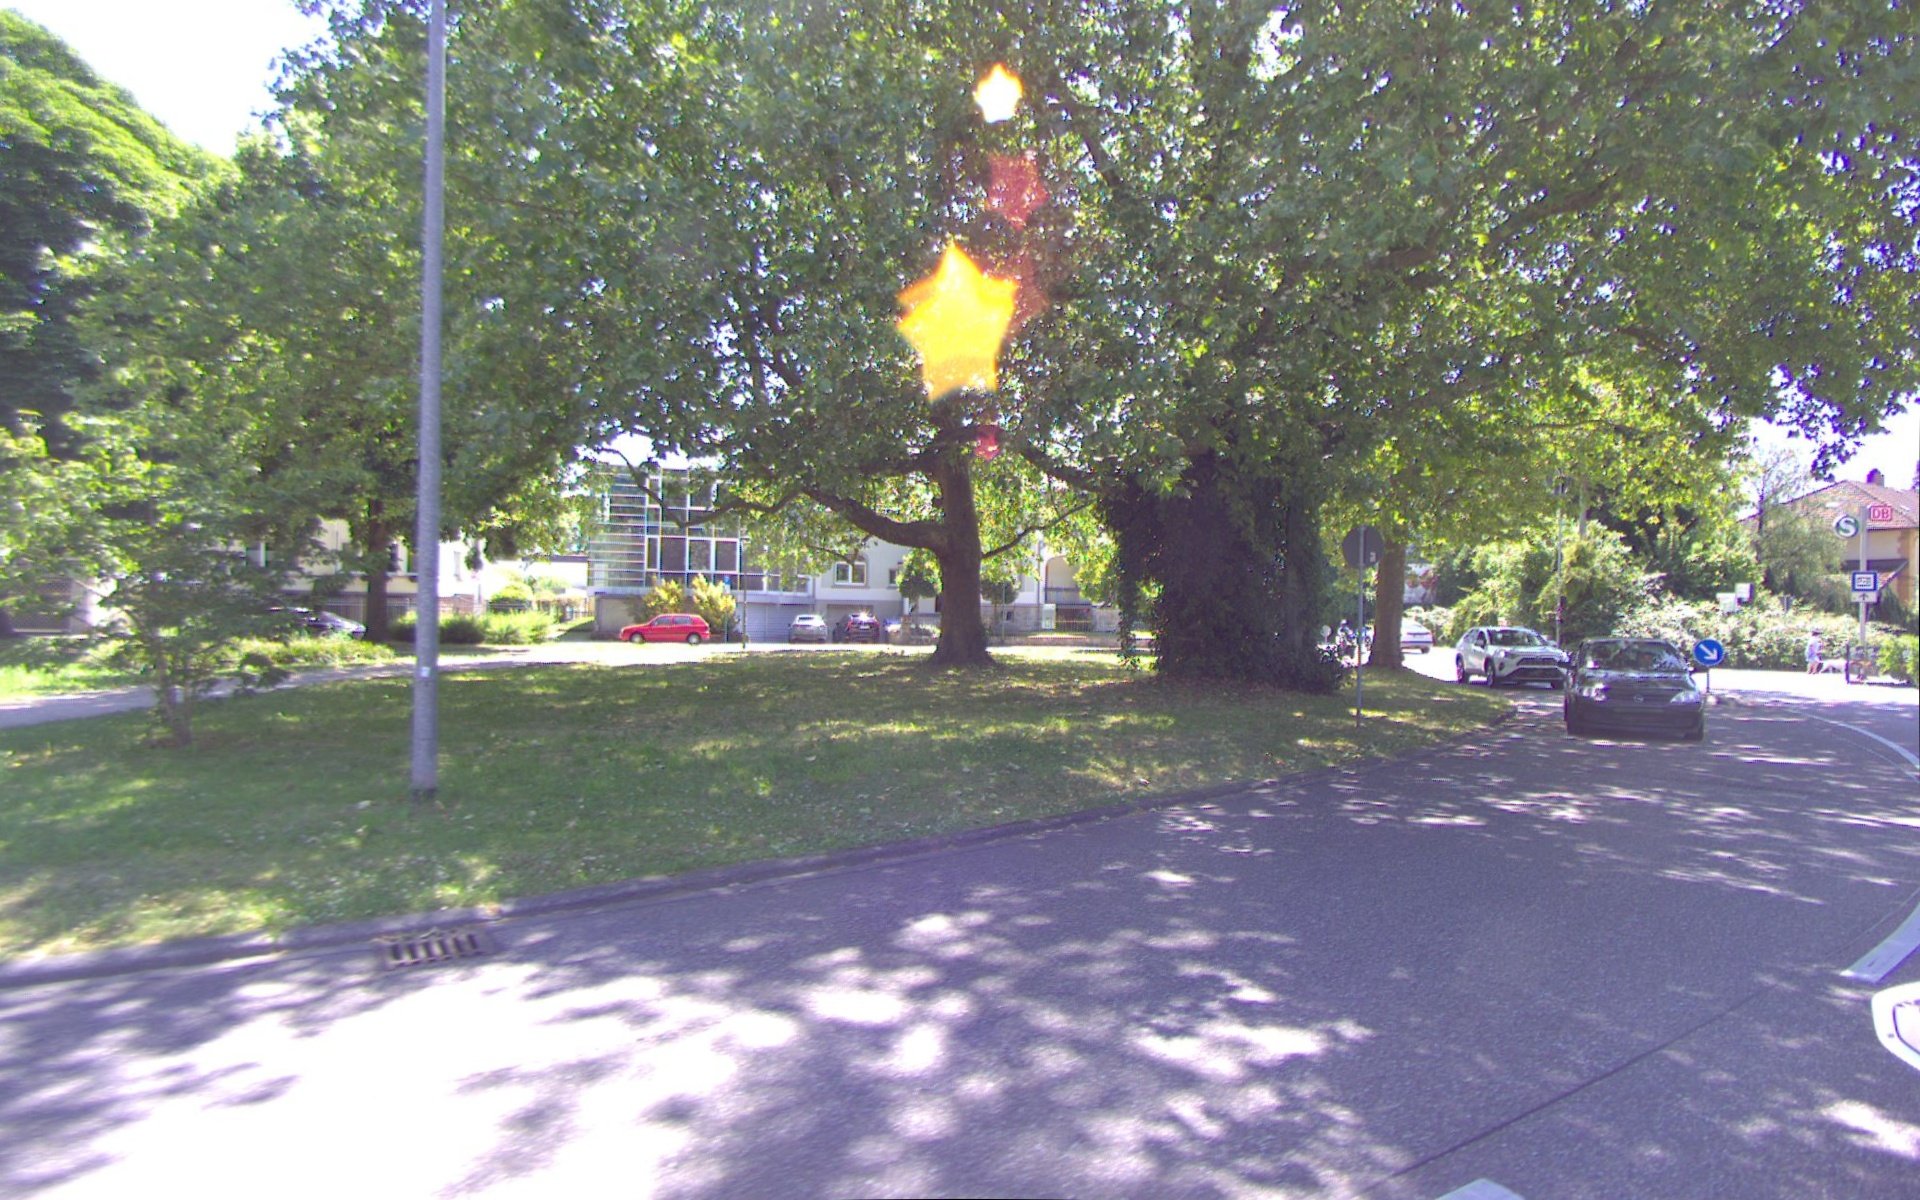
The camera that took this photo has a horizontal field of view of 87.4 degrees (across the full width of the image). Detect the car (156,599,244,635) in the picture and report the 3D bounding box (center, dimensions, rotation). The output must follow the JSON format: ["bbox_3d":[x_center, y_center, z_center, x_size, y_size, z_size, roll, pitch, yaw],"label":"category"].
[{"bbox_3d":[-36.816,0.804,48.776,1.967,1.606,3.988,1,-1,-15],"label":"car"}]

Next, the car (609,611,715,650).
[{"bbox_3d":[-13.382,1.354,45.368,4.431,1.639,1.994,2,-1,-15],"label":"car"}]

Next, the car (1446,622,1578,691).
[{"bbox_3d":[15.276,1.506,28.067,2.008,1.770,4.326,-1,-2,12],"label":"car"}]

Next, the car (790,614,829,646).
[{"bbox_3d":[-7.690,1.492,51.244,1.847,1.453,3.993,2,-1,-9],"label":"car"}]

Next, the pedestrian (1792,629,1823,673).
[{"bbox_3d":[32.980,1.988,39.108,0.604,1.649,0.701,1,1,6],"label":"pedestrian"}]

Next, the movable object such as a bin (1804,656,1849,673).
[{"bbox_3d":[32.979,2.454,38.245,1.217,0.602,0.517,1,0,7],"label":"movable object such as a bin"}]

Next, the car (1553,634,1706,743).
[{"bbox_3d":[10.294,1.261,15.694,1.616,1.436,3.994,-1,-2,28],"label":"car"}]

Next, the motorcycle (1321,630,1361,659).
[{"bbox_3d":[17.763,2.073,46.881,0.796,1.248,2.046,1,-1,-12],"label":"motorcycle"}]

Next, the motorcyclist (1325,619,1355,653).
[{"bbox_3d":[17.756,1.666,46.951,0.796,1.576,1.102,1,-1,-12],"label":"motorcyclist"}]

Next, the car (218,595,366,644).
[{"bbox_3d":[-25.720,0.760,38.873,4.444,1.802,1.988,2,-1,-25],"label":"car"}]

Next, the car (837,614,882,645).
[{"bbox_3d":[-5.337,1.543,52.892,1.965,1.445,3.991,2,-1,-11],"label":"car"}]

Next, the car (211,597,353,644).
[{"bbox_3d":[-28.235,0.863,41.963,4.428,1.802,1.995,1,0,-13],"label":"car"}]

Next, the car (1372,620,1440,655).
[{"bbox_3d":[23.646,1.963,53.433,1.903,1.635,4.475,5,-1,7],"label":"car"}]
